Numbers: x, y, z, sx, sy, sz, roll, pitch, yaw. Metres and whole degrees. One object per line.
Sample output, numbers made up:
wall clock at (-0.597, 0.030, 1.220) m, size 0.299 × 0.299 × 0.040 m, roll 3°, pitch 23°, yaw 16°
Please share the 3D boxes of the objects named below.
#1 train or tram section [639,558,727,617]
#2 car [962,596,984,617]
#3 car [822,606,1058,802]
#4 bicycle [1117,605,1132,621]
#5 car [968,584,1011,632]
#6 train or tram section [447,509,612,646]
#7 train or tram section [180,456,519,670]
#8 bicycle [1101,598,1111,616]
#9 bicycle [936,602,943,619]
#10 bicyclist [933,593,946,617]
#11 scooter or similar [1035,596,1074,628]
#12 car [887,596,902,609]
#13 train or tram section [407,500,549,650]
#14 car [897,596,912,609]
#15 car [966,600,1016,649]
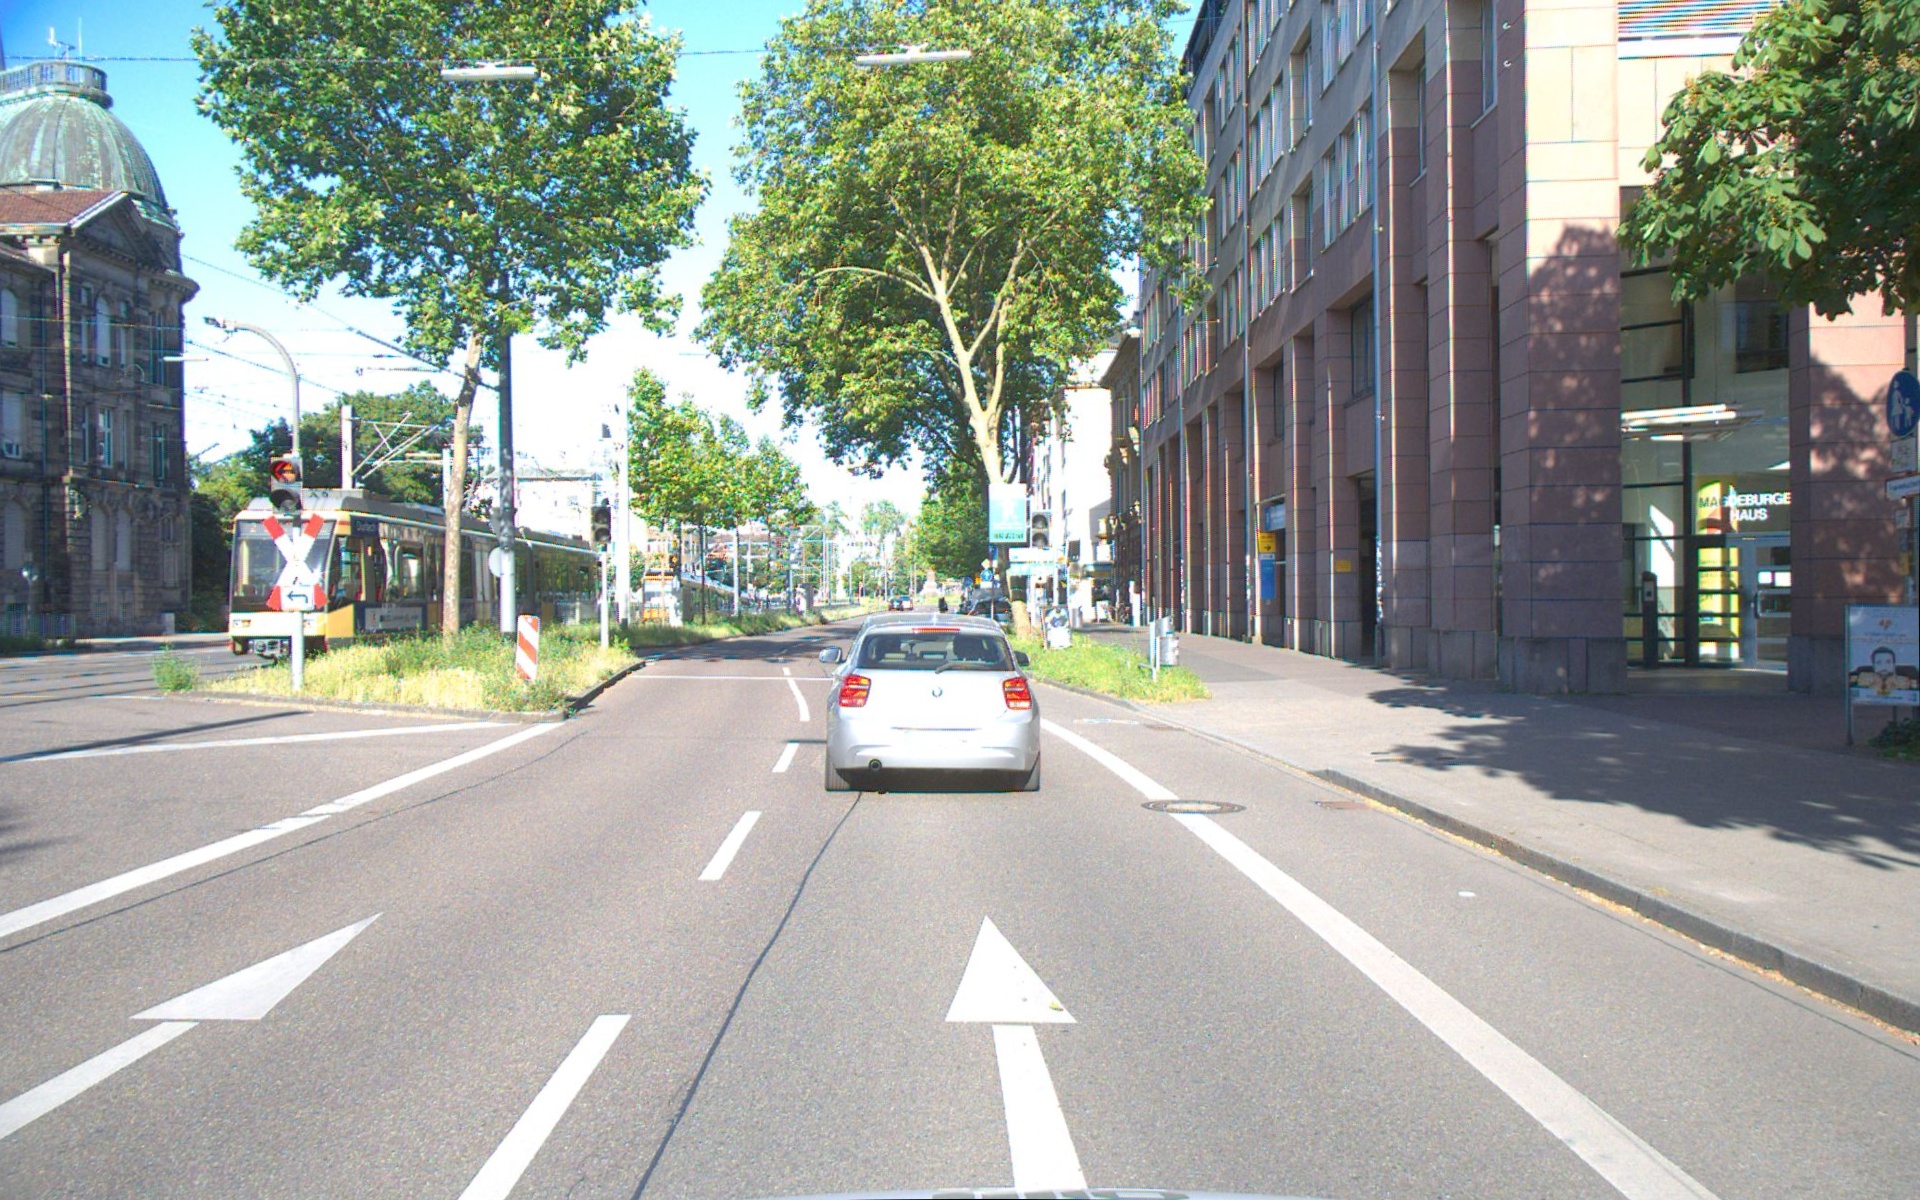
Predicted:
train or tram section at (-18.389, -0.824, 111.391) m, size 2.904 × 3.544 × 21.210 m, roll 1°, pitch 0°, yaw -2°
car at (1.069, 0.537, 133.076) m, size 1.660 × 1.528 × 3.801 m, roll -3°, pitch 0°, yaw 0°
car at (-0.187, 0.796, 14.569) m, size 1.761 × 1.439 × 3.999 m, roll 1°, pitch 0°, yaw -1°
bicycle at (8.262, 0.645, 83.026) m, size 0.537 × 0.787 × 1.662 m, roll -2°, pitch 0°, yaw 0°
car at (1.292, 0.341, 74.293) m, size 1.818 × 2.049 × 4.723 m, roll 1°, pitch 0°, yaw 0°
train or tram section at (-13.781, -0.665, 53.981) m, size 2.893 × 3.965 × 10.797 m, roll 1°, pitch 0°, yaw -2°
train or tram section at (-13.127, -0.672, 37.576) m, size 2.870 × 3.878 × 14.266 m, roll 1°, pitch 0°, yaw -2°
bicycle at (7.979, 0.377, 90.463) m, size 0.406 × 1.015 × 1.882 m, roll 0°, pitch 0°, yaw 0°
bicycle at (-1.342, 0.693, 108.698) m, size 0.489 × 1.107 × 1.997 m, roll 1°, pitch 0°, yaw -1°
bicyclist at (-1.336, 0.306, 108.835) m, size 0.769 × 1.558 × 0.895 m, roll 1°, pitch 0°, yaw 0°
scooter or similar at (3.798, 0.472, 66.304) m, size 1.509 × 1.259 × 0.449 m, roll 1°, pitch 0°, yaw 0°
car at (-7.444, 0.306, 188.809) m, size 1.692 × 1.496 × 4.408 m, roll 0°, pitch 0°, yaw -3°
train or tram section at (-13.510, -0.670, 46.636) m, size 2.896 × 3.965 × 3.864 m, roll 1°, pitch 0°, yaw -3°
car at (-6.606, 0.305, 196.887) m, size 1.611 × 1.446 × 4.000 m, roll 1°, pitch 0°, yaw 0°
car at (1.093, 0.816, 57.669) m, size 1.633 × 1.598 × 4.280 m, roll 1°, pitch 0°, yaw 1°
